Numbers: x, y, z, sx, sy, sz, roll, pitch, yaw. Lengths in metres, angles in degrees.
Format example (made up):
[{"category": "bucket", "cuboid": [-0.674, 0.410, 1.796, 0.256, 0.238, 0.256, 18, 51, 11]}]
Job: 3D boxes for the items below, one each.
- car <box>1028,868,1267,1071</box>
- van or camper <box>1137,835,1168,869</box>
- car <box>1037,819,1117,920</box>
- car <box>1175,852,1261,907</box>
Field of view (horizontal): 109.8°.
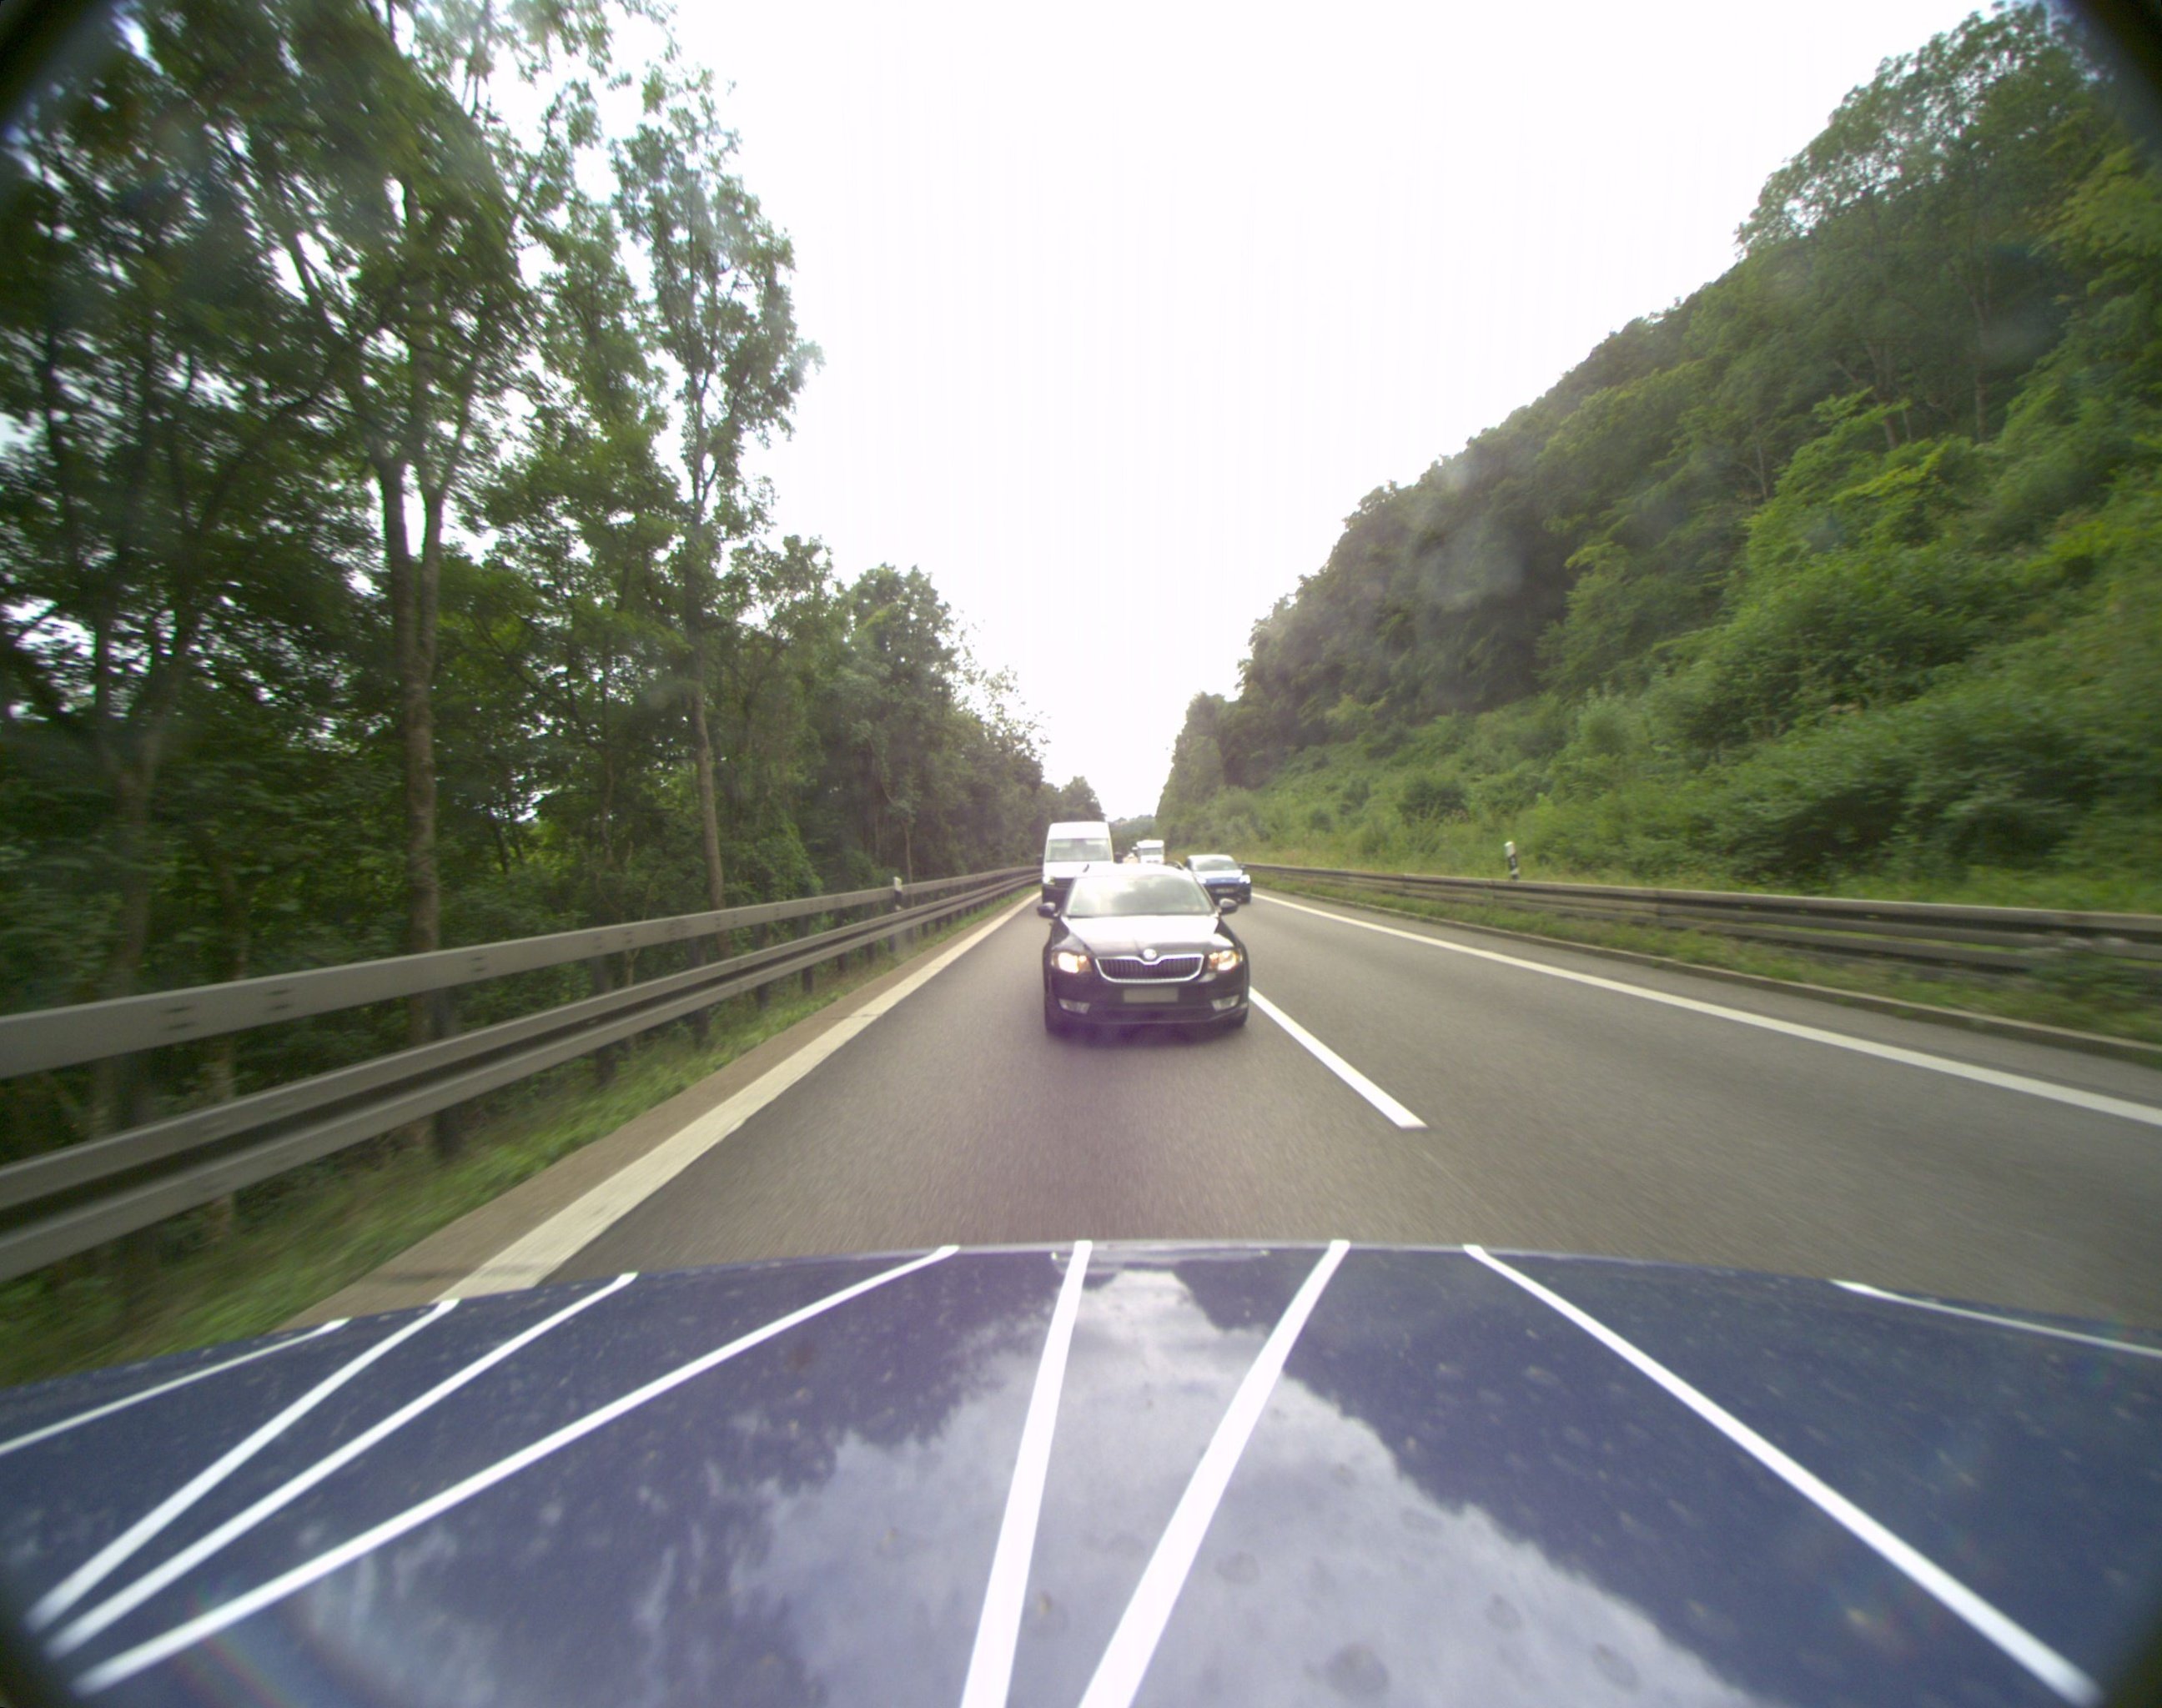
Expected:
[{"category": "car", "cuboid": [0.556, 0.909, 7.903, 1.751, 1.409, 4.401, -2, 0, 1]}, {"category": "van or camper", "cuboid": [6.215, -0.189, 66.715, 2.270, 2.719, 7.025, -2, 0, 2]}, {"category": "car", "cuboid": [-0.028, 0.381, 22.151, 2.001, 2.545, 5.128, -2, 1, 2]}, {"category": "car", "cuboid": [4.122, 0.720, 23.585, 1.840, 1.460, 4.555, -2, 0, 0]}]
